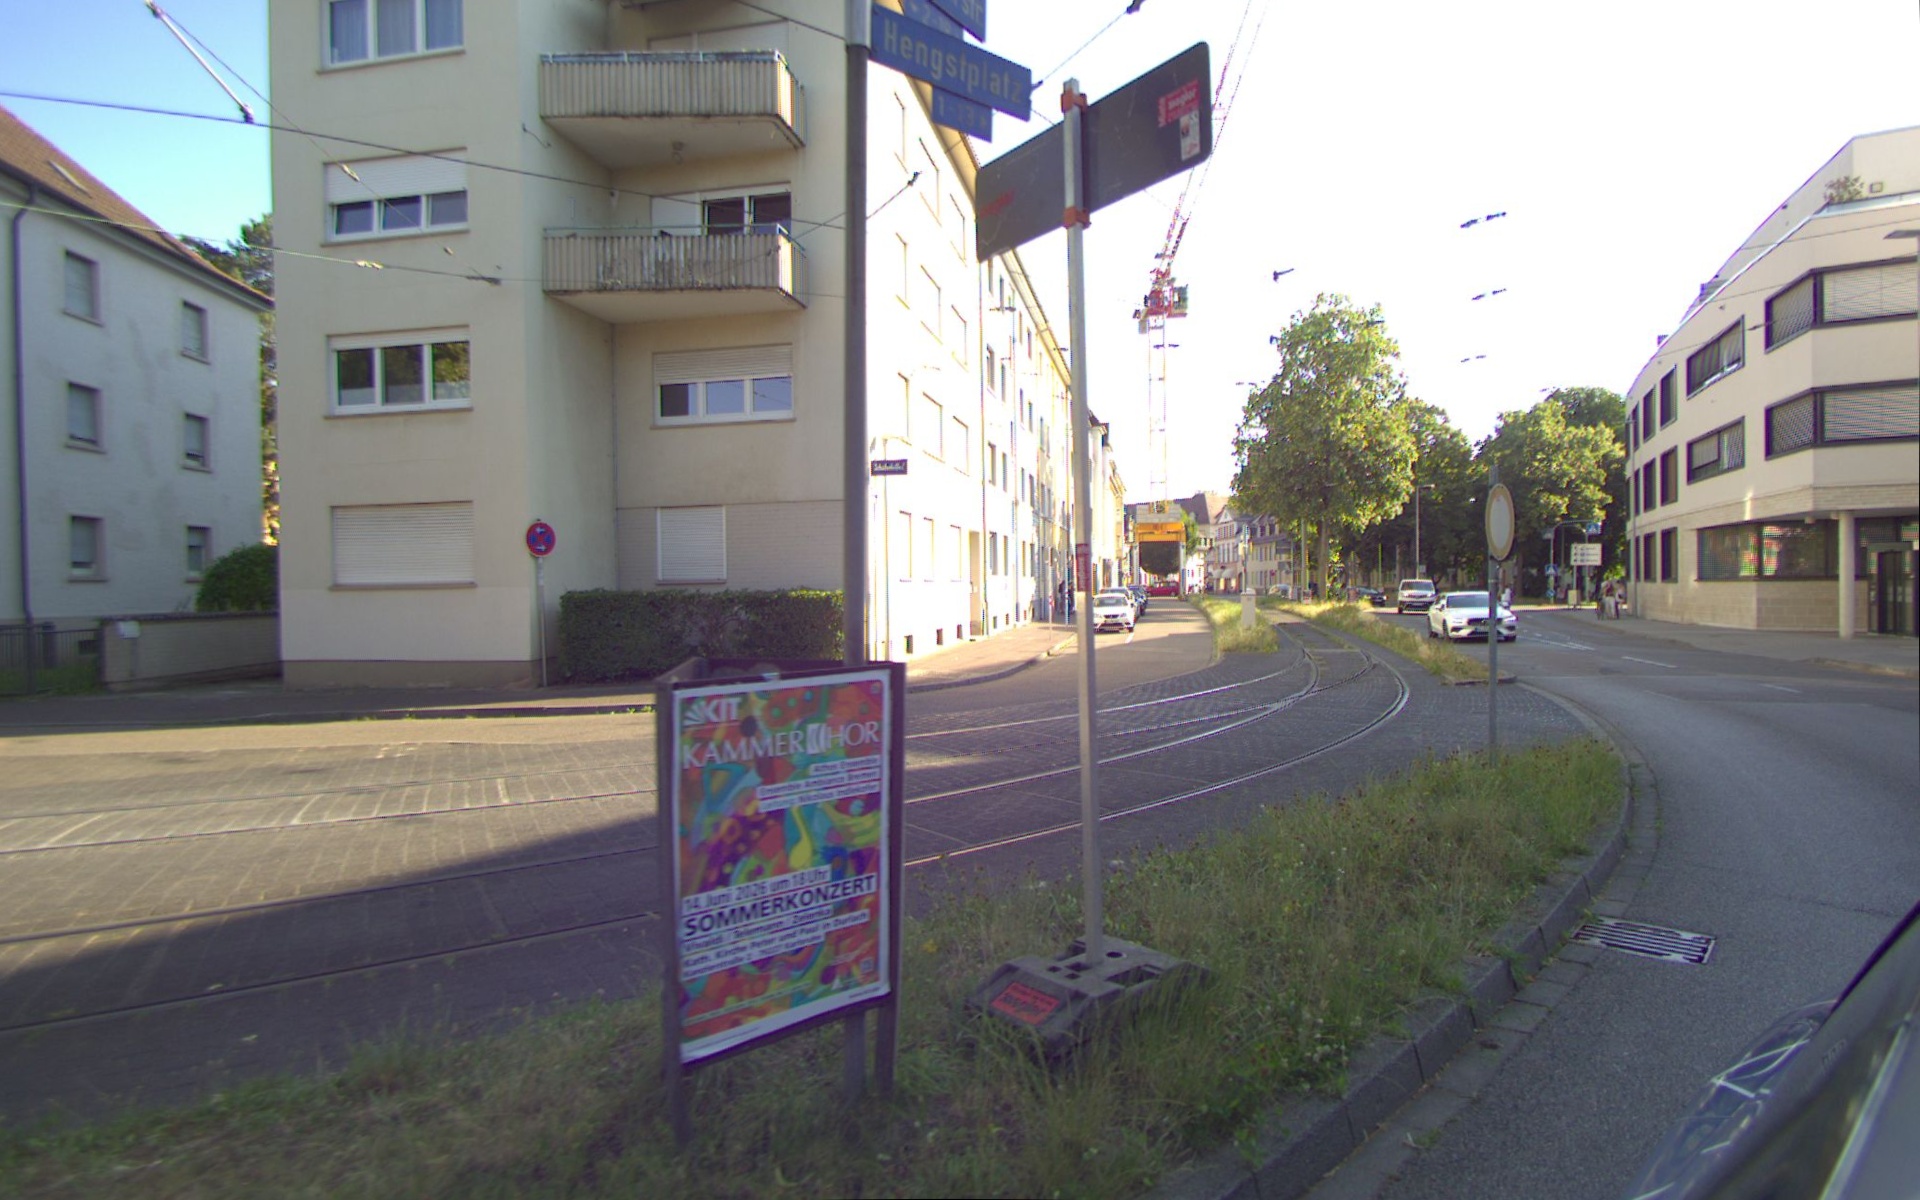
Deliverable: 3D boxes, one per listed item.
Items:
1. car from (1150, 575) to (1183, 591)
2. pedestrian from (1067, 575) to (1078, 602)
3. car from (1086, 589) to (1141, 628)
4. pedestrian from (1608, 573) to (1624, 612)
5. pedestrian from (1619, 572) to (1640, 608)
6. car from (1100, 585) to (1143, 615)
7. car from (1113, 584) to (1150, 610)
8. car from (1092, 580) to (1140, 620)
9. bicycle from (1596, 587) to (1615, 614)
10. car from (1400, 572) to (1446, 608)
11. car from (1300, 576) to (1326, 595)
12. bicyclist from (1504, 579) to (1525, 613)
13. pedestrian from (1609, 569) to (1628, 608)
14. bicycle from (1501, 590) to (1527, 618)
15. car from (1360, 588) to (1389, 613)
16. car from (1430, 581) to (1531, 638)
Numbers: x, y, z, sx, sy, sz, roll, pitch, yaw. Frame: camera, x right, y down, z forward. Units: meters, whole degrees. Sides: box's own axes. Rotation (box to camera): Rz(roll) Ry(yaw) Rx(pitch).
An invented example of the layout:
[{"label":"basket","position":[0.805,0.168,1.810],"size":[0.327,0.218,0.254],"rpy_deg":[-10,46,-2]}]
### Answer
[{"label":"car","position":[26.270,-2.166,128.809],"size":[4.005,1.945,1.995],"rpy_deg":[0,0,9]},{"label":"pedestrian","position":[6.039,-0.615,54.447],"size":[0.517,1.458,0.459],"rpy_deg":[-1,0,12]},{"label":"car","position":[5.856,0.282,38.997],"size":[1.966,1.404,4.437],"rpy_deg":[0,1,7]},{"label":"pedestrian","position":[28.816,-0.322,44.454],"size":[0.472,1.669,0.595],"rpy_deg":[-4,-2,35]},{"label":"pedestrian","position":[32.313,-0.490,48.877],"size":[0.697,1.735,0.836],"rpy_deg":[-1,1,25]},{"label":"car","position":[7.979,-0.017,49.716],"size":[1.968,1.404,4.433],"rpy_deg":[0,1,10]},{"label":"car","position":[9.529,-0.192,56.188],"size":[1.968,1.404,4.433],"rpy_deg":[0,1,10]},{"label":"car","position":[6.860,-0.043,44.143],"size":[1.968,1.591,4.628],"rpy_deg":[0,2,10]},{"label":"bicycle","position":[28.624,0.021,44.862],"size":[0.439,1.193,1.938],"rpy_deg":[-1,-1,40]},{"label":"car","position":[25.295,-0.571,55.414],"size":[1.976,1.877,4.867],"rpy_deg":[0,0,22]},{"label":"car","position":[36.739,-1.533,105.480],"size":[1.969,1.816,3.987],"rpy_deg":[-1,1,11]},{"label":"bicyclist","position":[23.065,-0.169,42.117],"size":[0.616,1.397,0.796],"rpy_deg":[0,1,18]},{"label":"pedestrian","position":[31.920,-0.554,49.061],"size":[0.601,1.872,0.985],"rpy_deg":[-1,1,24]},{"label":"bicycle","position":[23.067,0.143,42.130],"size":[0.616,1.095,1.773],"rpy_deg":[0,1,18]},{"label":"car","position":[29.463,0.013,72.002],"size":[1.694,1.637,3.974],"rpy_deg":[-1,1,20]},{"label":"car","position":[15.529,0.235,30.426],"size":[1.830,1.482,4.746],"rpy_deg":[-3,0,18]}]
